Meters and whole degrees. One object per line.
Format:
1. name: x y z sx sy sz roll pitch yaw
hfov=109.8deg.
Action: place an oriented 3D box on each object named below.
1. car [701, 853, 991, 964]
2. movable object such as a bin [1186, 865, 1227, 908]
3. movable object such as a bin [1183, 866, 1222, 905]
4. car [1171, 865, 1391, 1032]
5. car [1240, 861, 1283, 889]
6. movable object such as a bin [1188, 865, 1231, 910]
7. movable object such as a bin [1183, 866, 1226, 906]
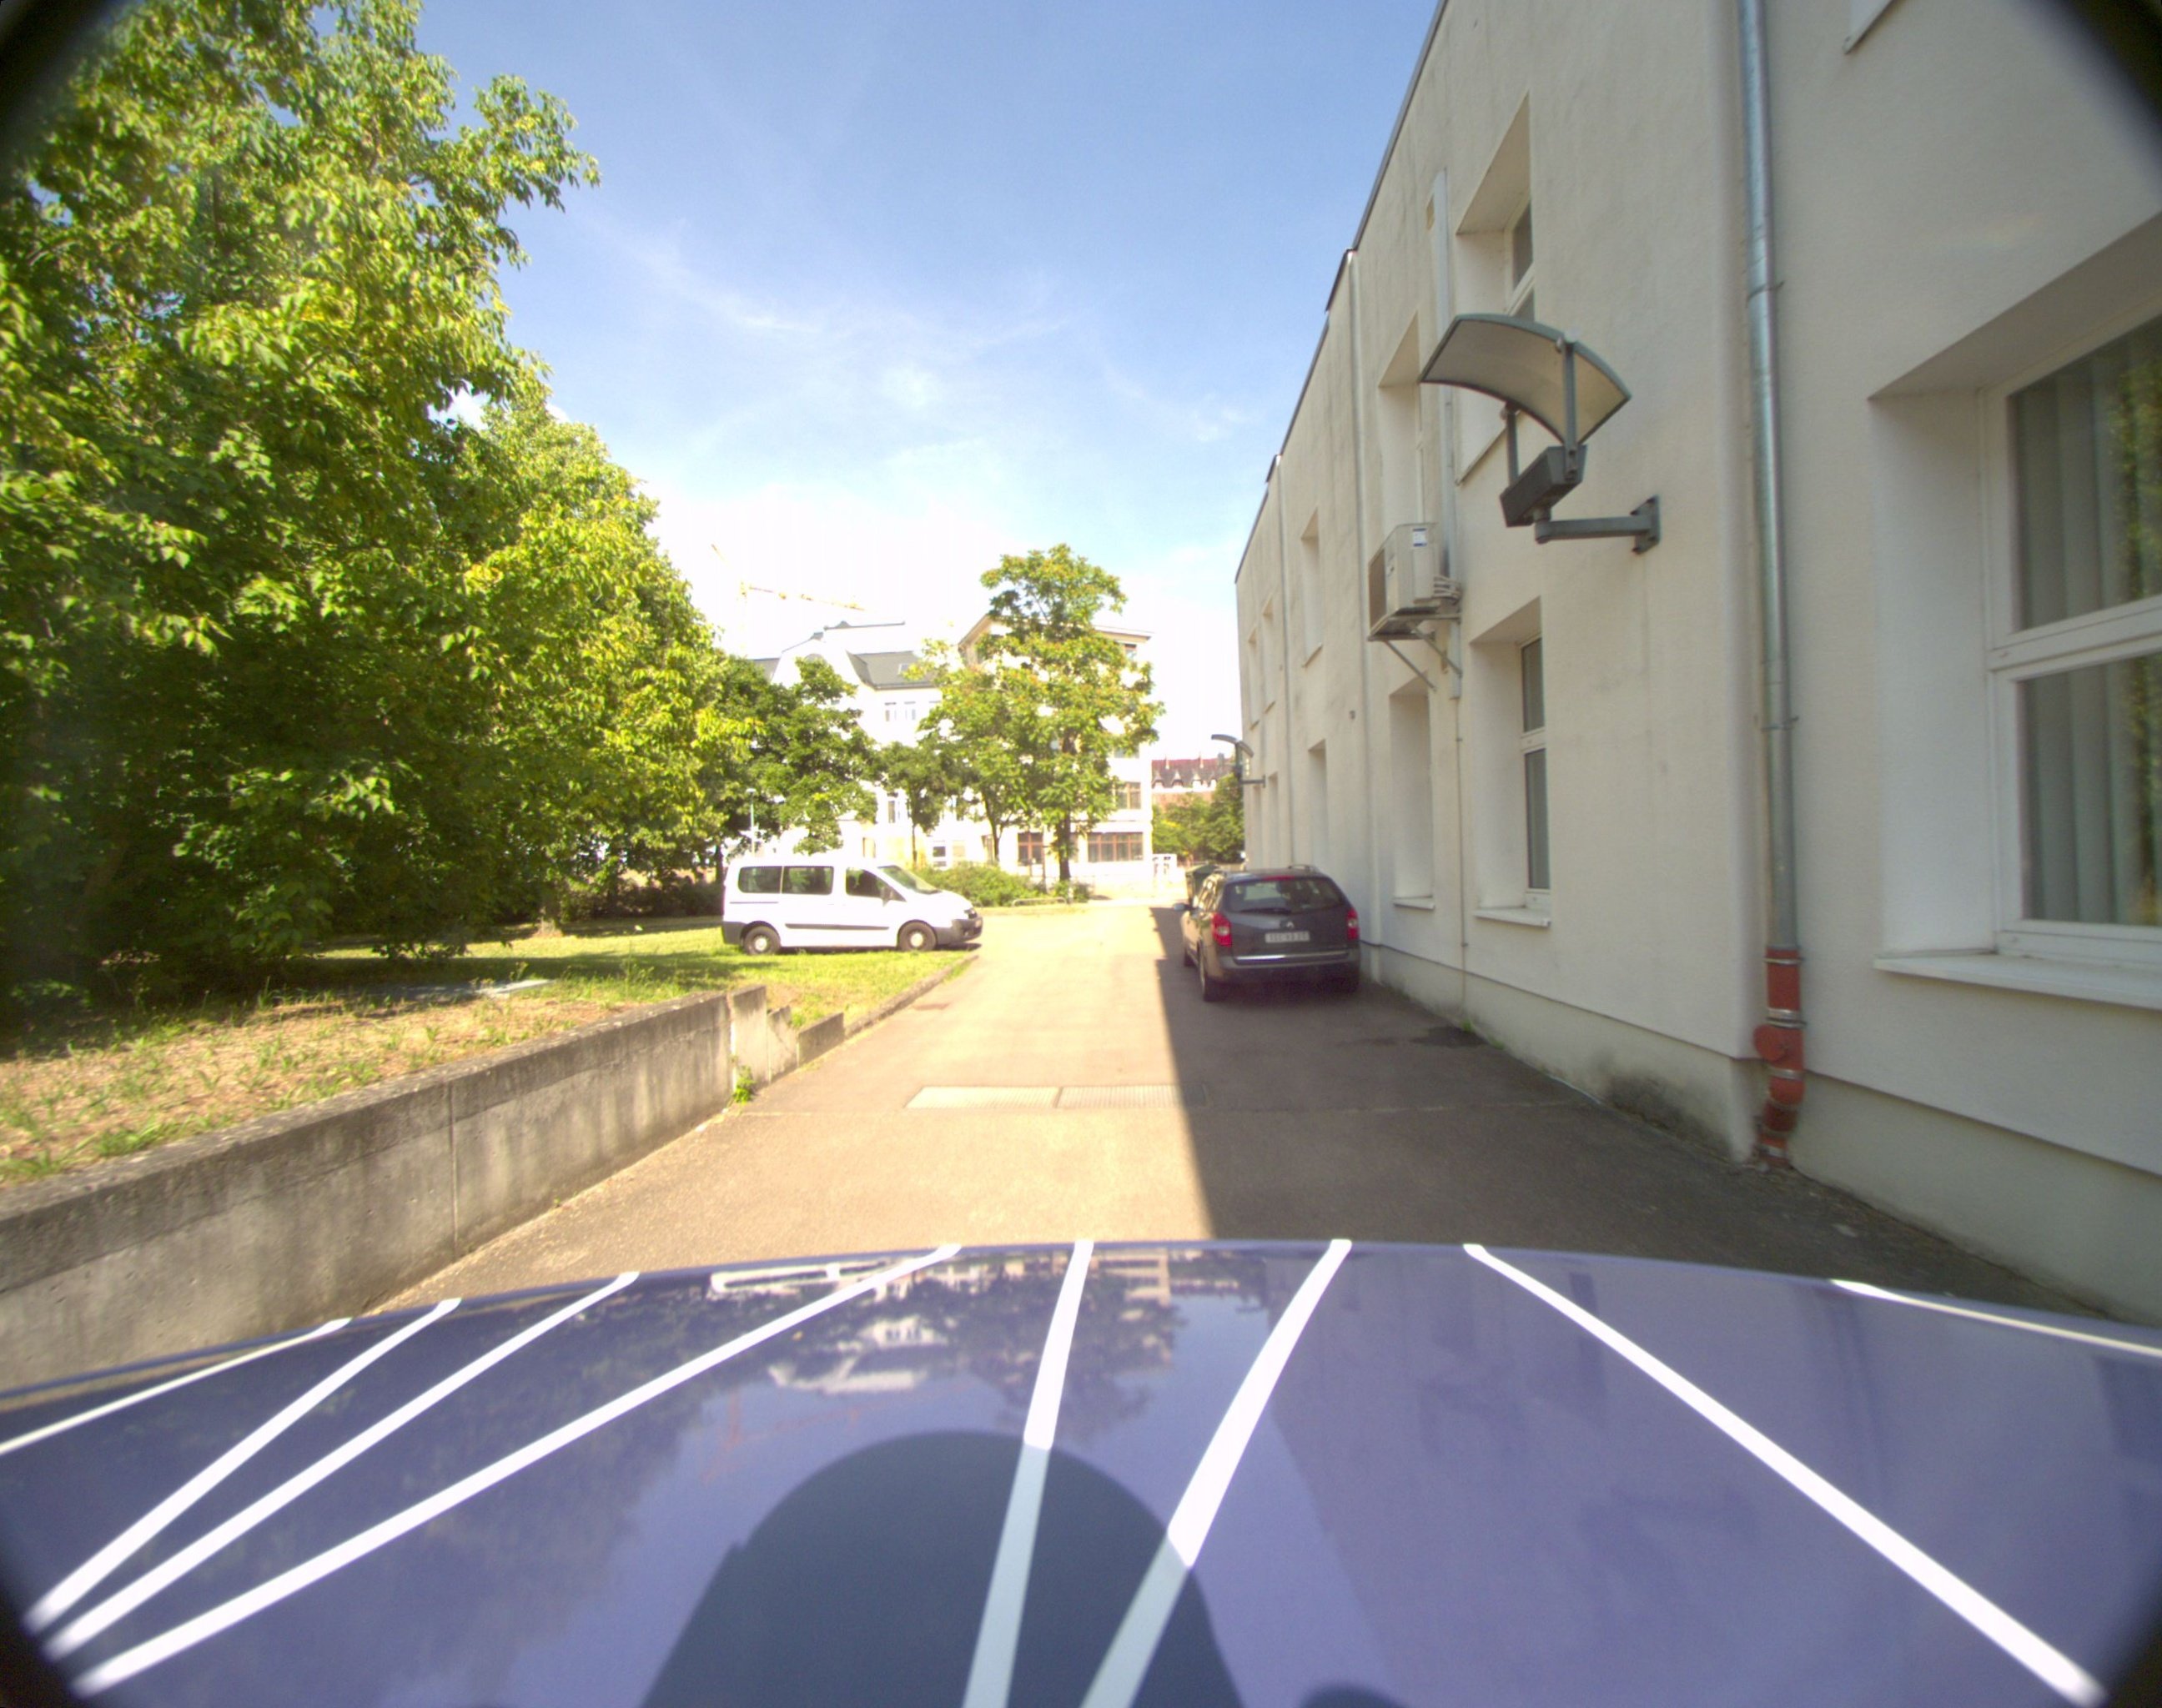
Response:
1. car: -4.493 1.035 15.001 5.034 1.921 2.001 -2 -1 5
2. movable object such as a bin: 4.399 1.132 26.774 1.247 1.422 1.366 -2 -1 3
3. movable object such as a bin: 4.695 1.202 29.556 1.247 1.472 1.339 -1 -1 -1
4. car: 2.266 0.993 9.842 1.841 1.433 4.430 -4 1 4
5. car: 12.686 1.425 53.273 1.917 1.769 4.320 -4 -2 26
6. movable object such as a bin: 4.246 1.104 25.268 1.247 1.422 1.350 -2 -1 3
7. movable object such as a bin: 4.566 1.165 28.153 1.248 1.422 1.223 -1 -1 -7
